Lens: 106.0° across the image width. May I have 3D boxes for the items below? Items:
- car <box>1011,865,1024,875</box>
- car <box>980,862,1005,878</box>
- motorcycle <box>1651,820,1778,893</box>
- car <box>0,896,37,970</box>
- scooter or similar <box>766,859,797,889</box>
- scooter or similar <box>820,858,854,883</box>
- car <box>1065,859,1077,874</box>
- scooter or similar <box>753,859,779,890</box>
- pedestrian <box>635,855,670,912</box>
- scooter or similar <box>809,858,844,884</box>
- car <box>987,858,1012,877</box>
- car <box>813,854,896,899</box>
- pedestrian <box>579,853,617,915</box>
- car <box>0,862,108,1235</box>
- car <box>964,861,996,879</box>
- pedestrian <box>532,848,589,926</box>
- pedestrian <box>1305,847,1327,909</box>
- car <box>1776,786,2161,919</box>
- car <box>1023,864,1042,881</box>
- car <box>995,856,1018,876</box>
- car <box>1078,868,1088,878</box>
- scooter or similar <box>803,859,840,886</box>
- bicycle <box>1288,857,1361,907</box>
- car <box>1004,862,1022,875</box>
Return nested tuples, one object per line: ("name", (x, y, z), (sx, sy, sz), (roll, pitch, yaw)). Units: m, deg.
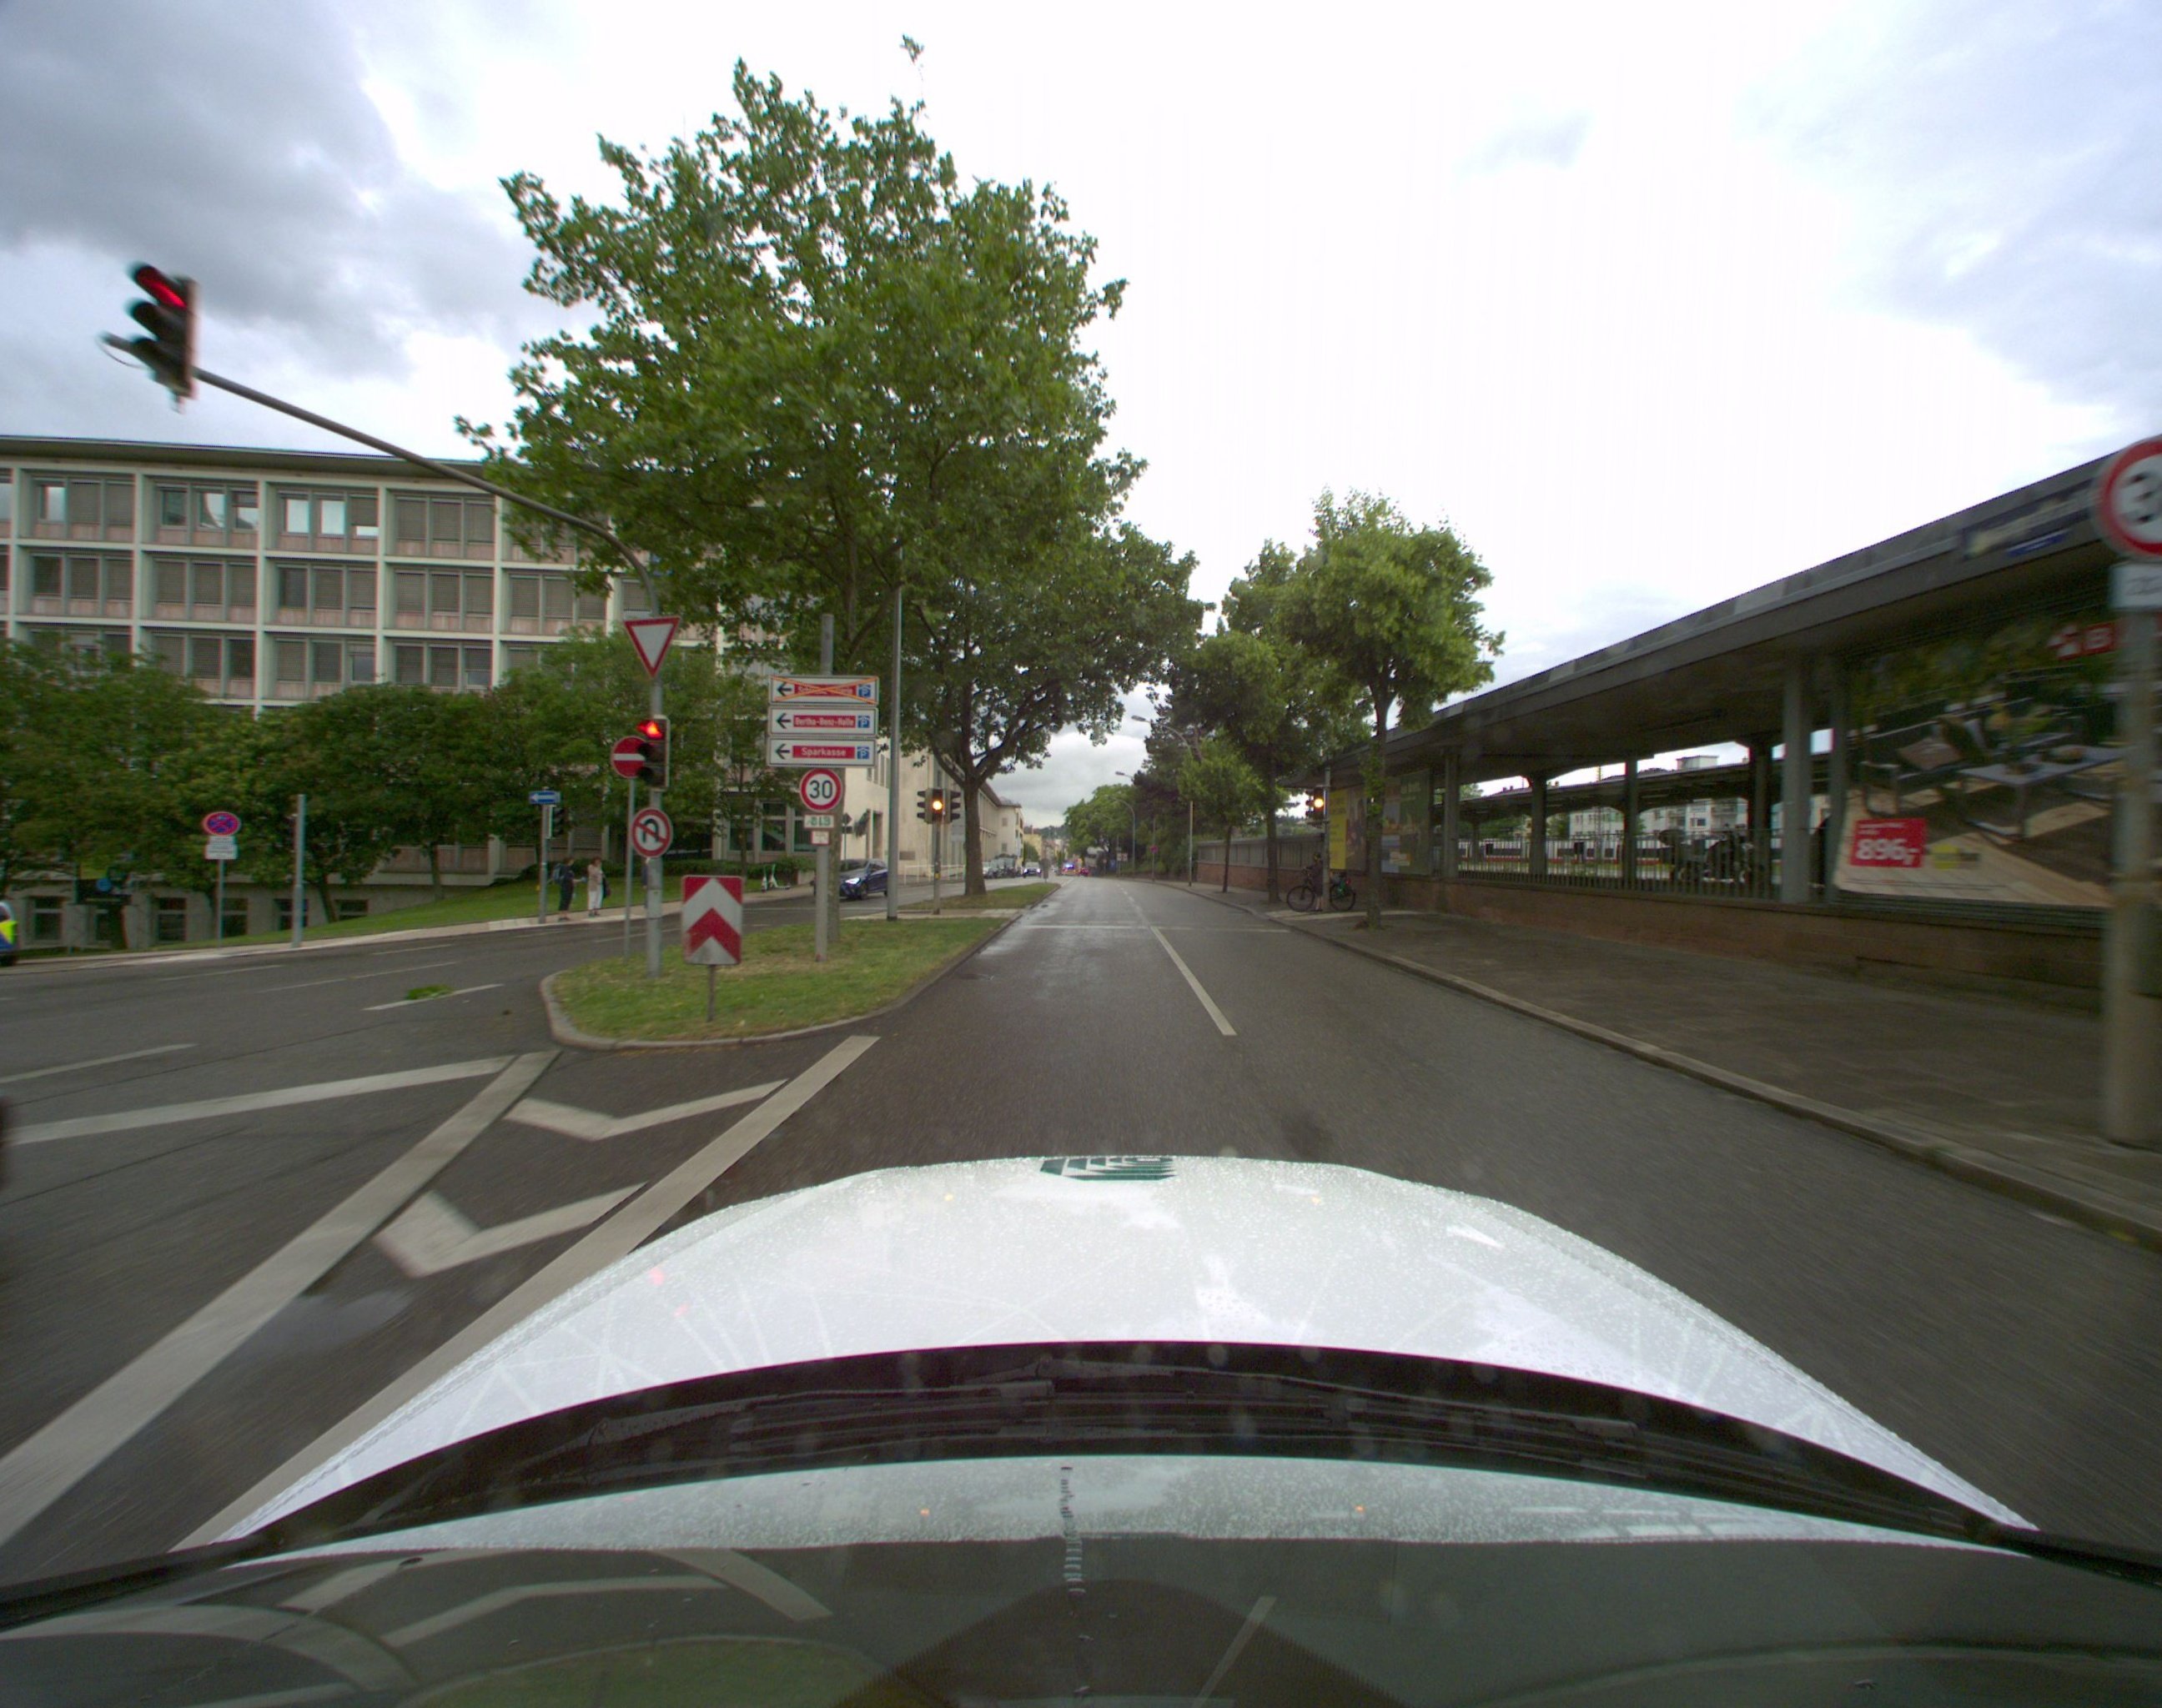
("car", (-9.240, 2.371, 119.208), (1.744, 1.435, 4.479), (3, -2, -3))
("car", (-7.475, 1.350, 69.387), (1.537, 1.354, 4.111), (1, -1, 1))
("motorcycle", (14.285, 0.055, 18.398), (2.333, 1.610, 0.694), (0, -1, 0))
("car", (-31.586, 2.251, 22.554), (4.534, 1.965, 2.010), (-3, -1, 21))
("scooter or similar", (-12.241, 0.802, 33.301), (0.567, 1.192, 1.576), (0, 0, 4))
("scooter or similar", (-11.934, 0.798, 39.875), (0.601, 1.164, 1.538), (0, 0, 34))
("car", (-1.962, 2.357, 155.892), (2.257, 2.656, 3.998), (-1, 0, -1))
("scooter or similar", (-12.259, 0.785, 31.686), (0.487, 1.167, 1.500), (0, 0, -3))
("pedestrian", (-12.421, 0.833, 23.614), (0.653, 1.603, 0.921), (0, 0, -11))
("scooter or similar", (-12.032, 0.805, 38.552), (0.601, 1.192, 1.538), (0, 0, 34))
("car", (-7.481, 1.218, 74.849), (1.791, 1.676, 4.603), (1, -1, 0))
("car", (-8.155, 0.751, 29.673), (1.835, 1.508, 4.102), (1, 0, 0))
("pedestrian", (-13.592, 0.836, 22.918), (0.652, 1.710, 0.795), (0, 0, -7))
("car", (-4.517, 0.737, 1.154), (1.819, 1.409, 4.391), (0, 0, -15))
("car", (-7.812, 1.216, 63.406), (1.684, 1.297, 4.096), (1, -1, 3))
("pedestrian", (-13.977, 0.860, 21.883), (0.929, 2.045, 0.875), (0, 0, 8))
("pedestrian", (6.026, 0.618, 20.890), (0.452, 1.568, 0.395), (0, 0, 32))
("car", (14.708, -0.016, 13.771), (1.987, 1.871, 4.596), (0, 0, -1))
("car", (-5.066, 1.906, 85.347), (1.817, 1.660, 4.334), (0, -1, -2))
("car", (-7.582, 1.247, 83.068), (1.943, 1.944, 4.994), (1, -1, -1))
("car", (0.404, 4.088, 175.956), (2.086, 1.910, 4.097), (-1, 0, -1))
("scooter or similar", (-11.851, 0.824, 37.235), (0.601, 1.192, 1.538), (0, 0, 34))
("bicycle", (6.295, 0.726, 21.112), (1.703, 1.249, 0.489), (-2, 0, 32))
("car", (-8.214, 1.753, 98.709), (1.810, 1.484, 4.907), (1, -1, -1))
